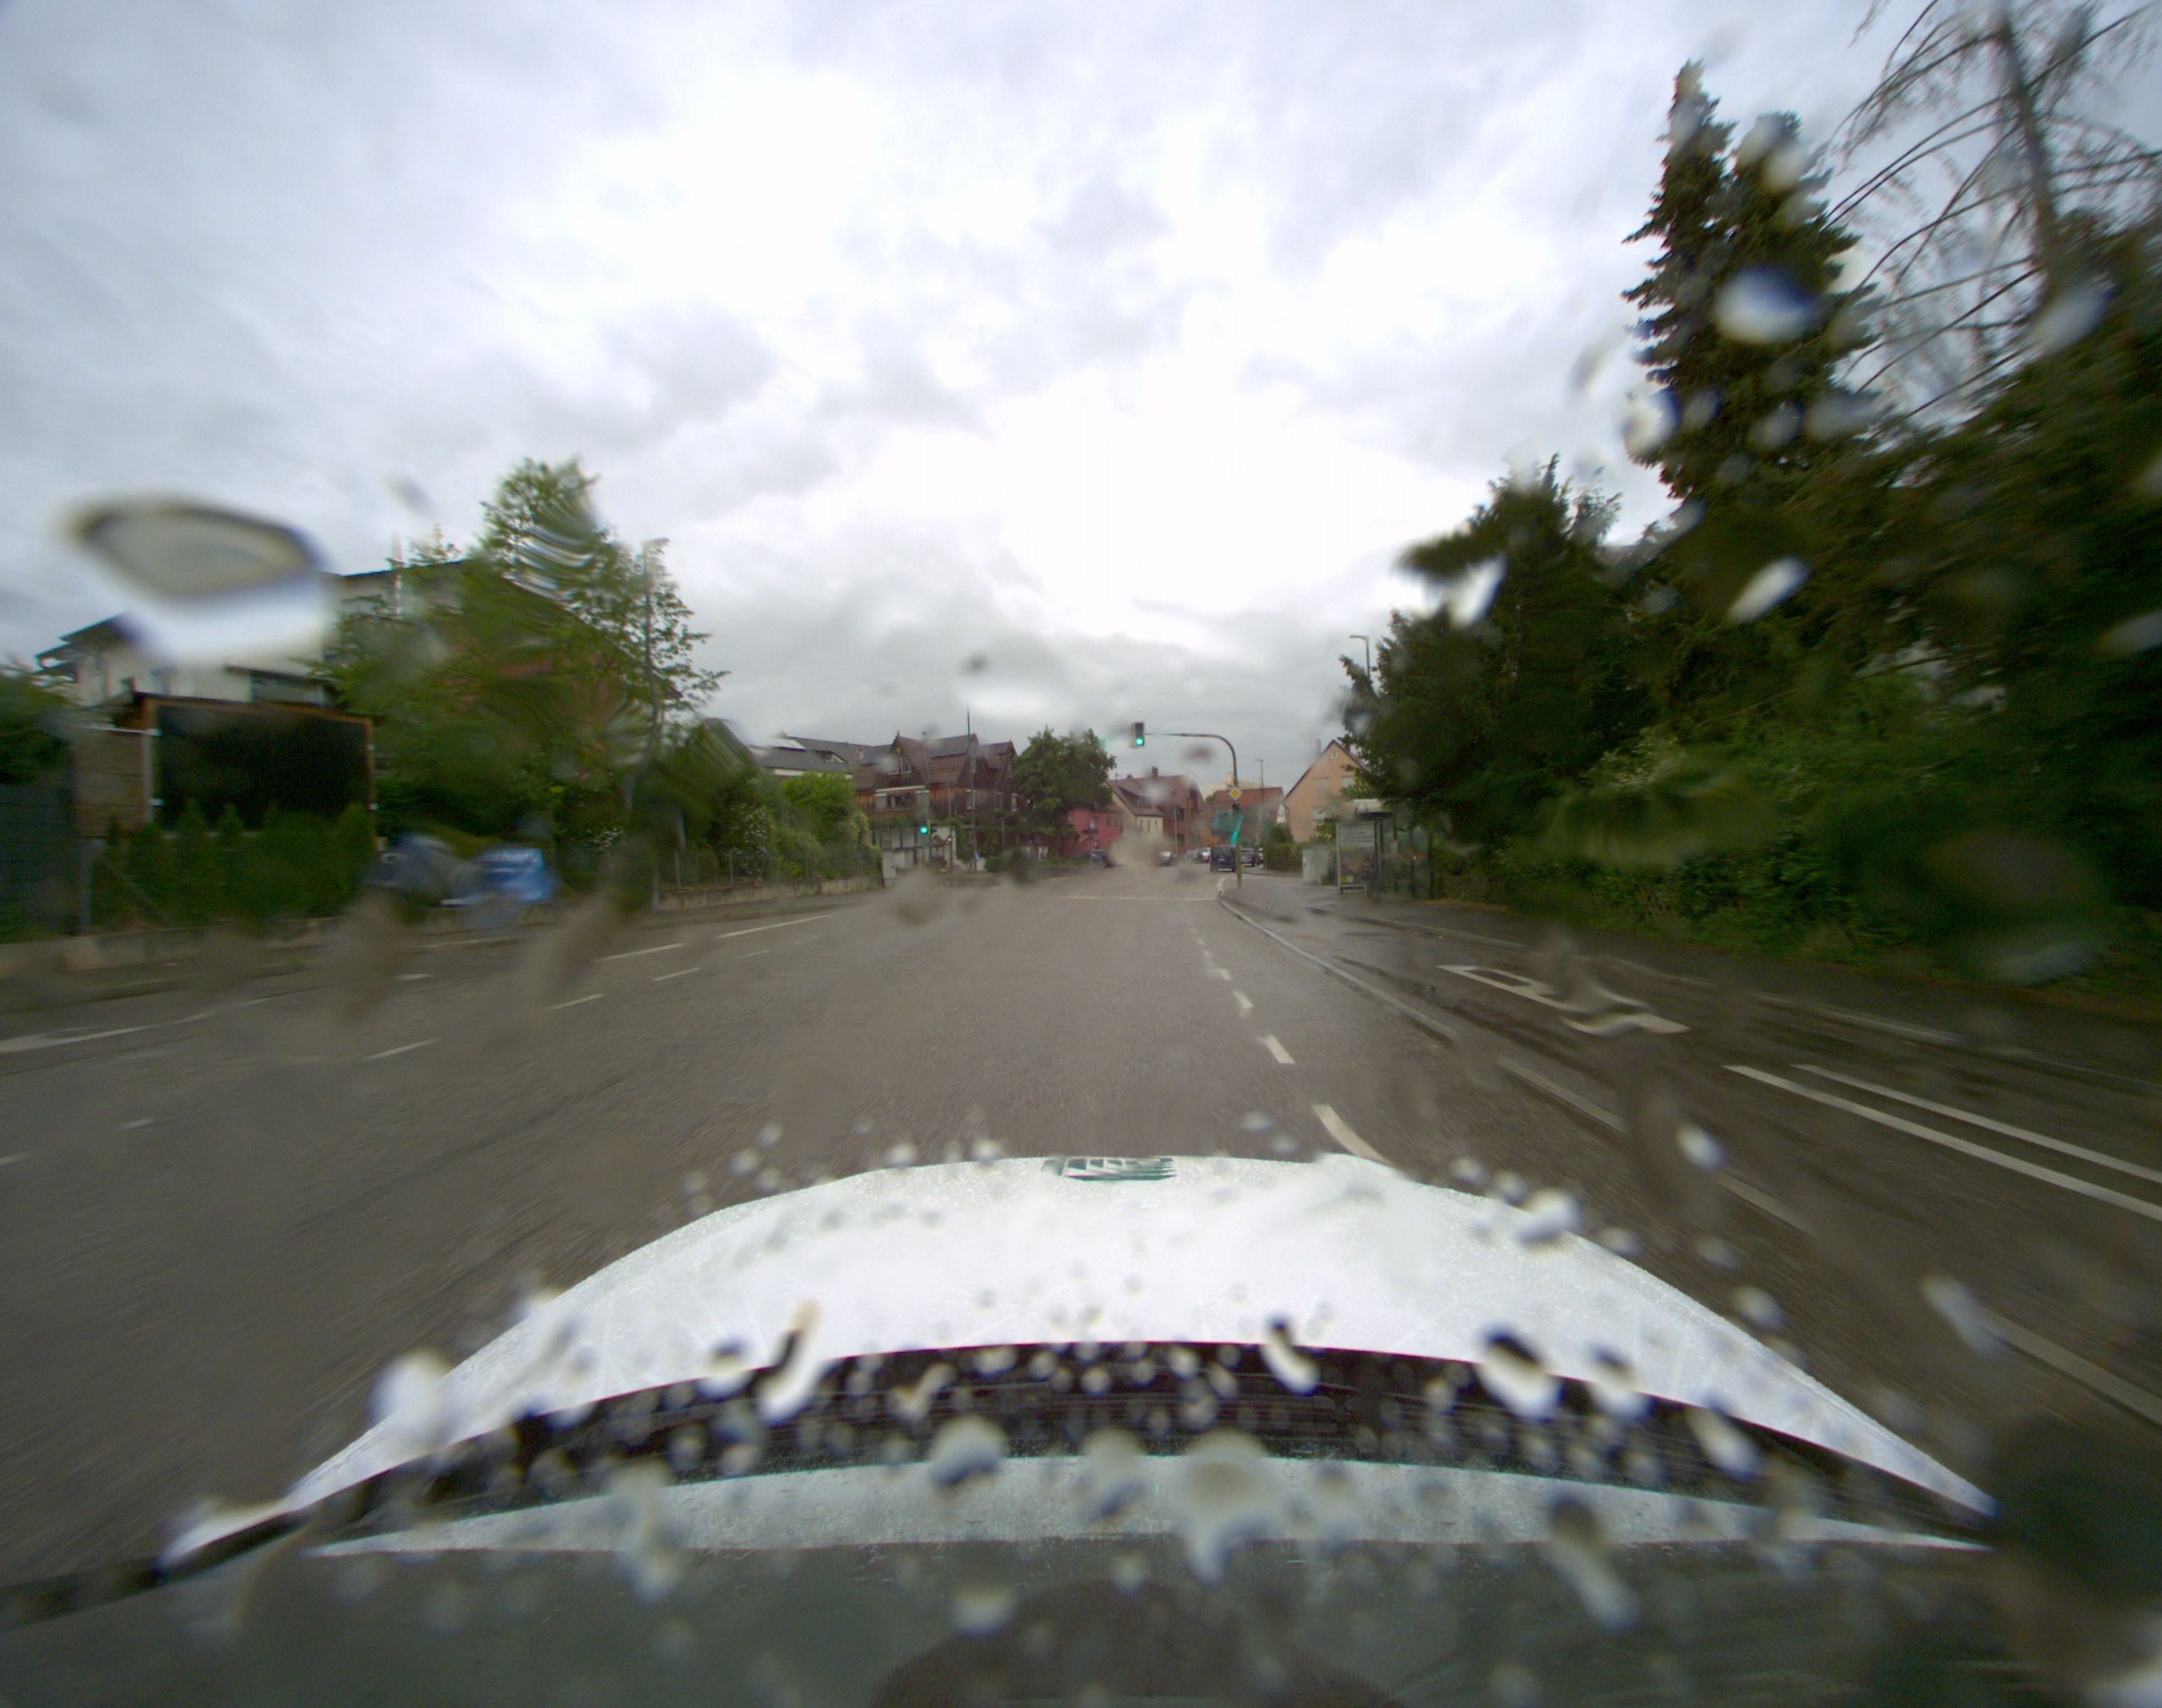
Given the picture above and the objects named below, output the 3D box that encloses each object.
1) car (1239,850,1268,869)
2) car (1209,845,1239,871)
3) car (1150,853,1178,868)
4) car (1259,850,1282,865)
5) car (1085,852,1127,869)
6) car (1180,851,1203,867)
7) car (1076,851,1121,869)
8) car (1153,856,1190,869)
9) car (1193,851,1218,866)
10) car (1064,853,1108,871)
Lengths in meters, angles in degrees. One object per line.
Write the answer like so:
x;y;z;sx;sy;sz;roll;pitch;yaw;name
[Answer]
16.275;0.504;76.689;1.892;1.717;4.580;0;0;22;car
10.984;0.274;62.257;1.917;1.902;4.811;0;0;14;car
7.962;0.625;77.846;1.613;1.355;4.132;0;0;21;car
20.046;0.374;86.100;1.787;1.595;4.635;0;0;20;car
2.323;0.578;74.711;3.430;1.479;1.600;-2;-1;24;car
11.900;0.517;87.597;1.591;1.617;3.294;-2;-1;23;car
1.542;0.505;72.519;3.543;1.506;1.866;1;1;26;car
11.081;1.000;99.714;4.132;1.403;1.800;-2;-1;29;car
14.121;0.538;92.244;1.749;1.619;4.681;-2;0;22;car
0.422;0.709;70.084;3.415;1.418;1.642;-2;-1;24;car
